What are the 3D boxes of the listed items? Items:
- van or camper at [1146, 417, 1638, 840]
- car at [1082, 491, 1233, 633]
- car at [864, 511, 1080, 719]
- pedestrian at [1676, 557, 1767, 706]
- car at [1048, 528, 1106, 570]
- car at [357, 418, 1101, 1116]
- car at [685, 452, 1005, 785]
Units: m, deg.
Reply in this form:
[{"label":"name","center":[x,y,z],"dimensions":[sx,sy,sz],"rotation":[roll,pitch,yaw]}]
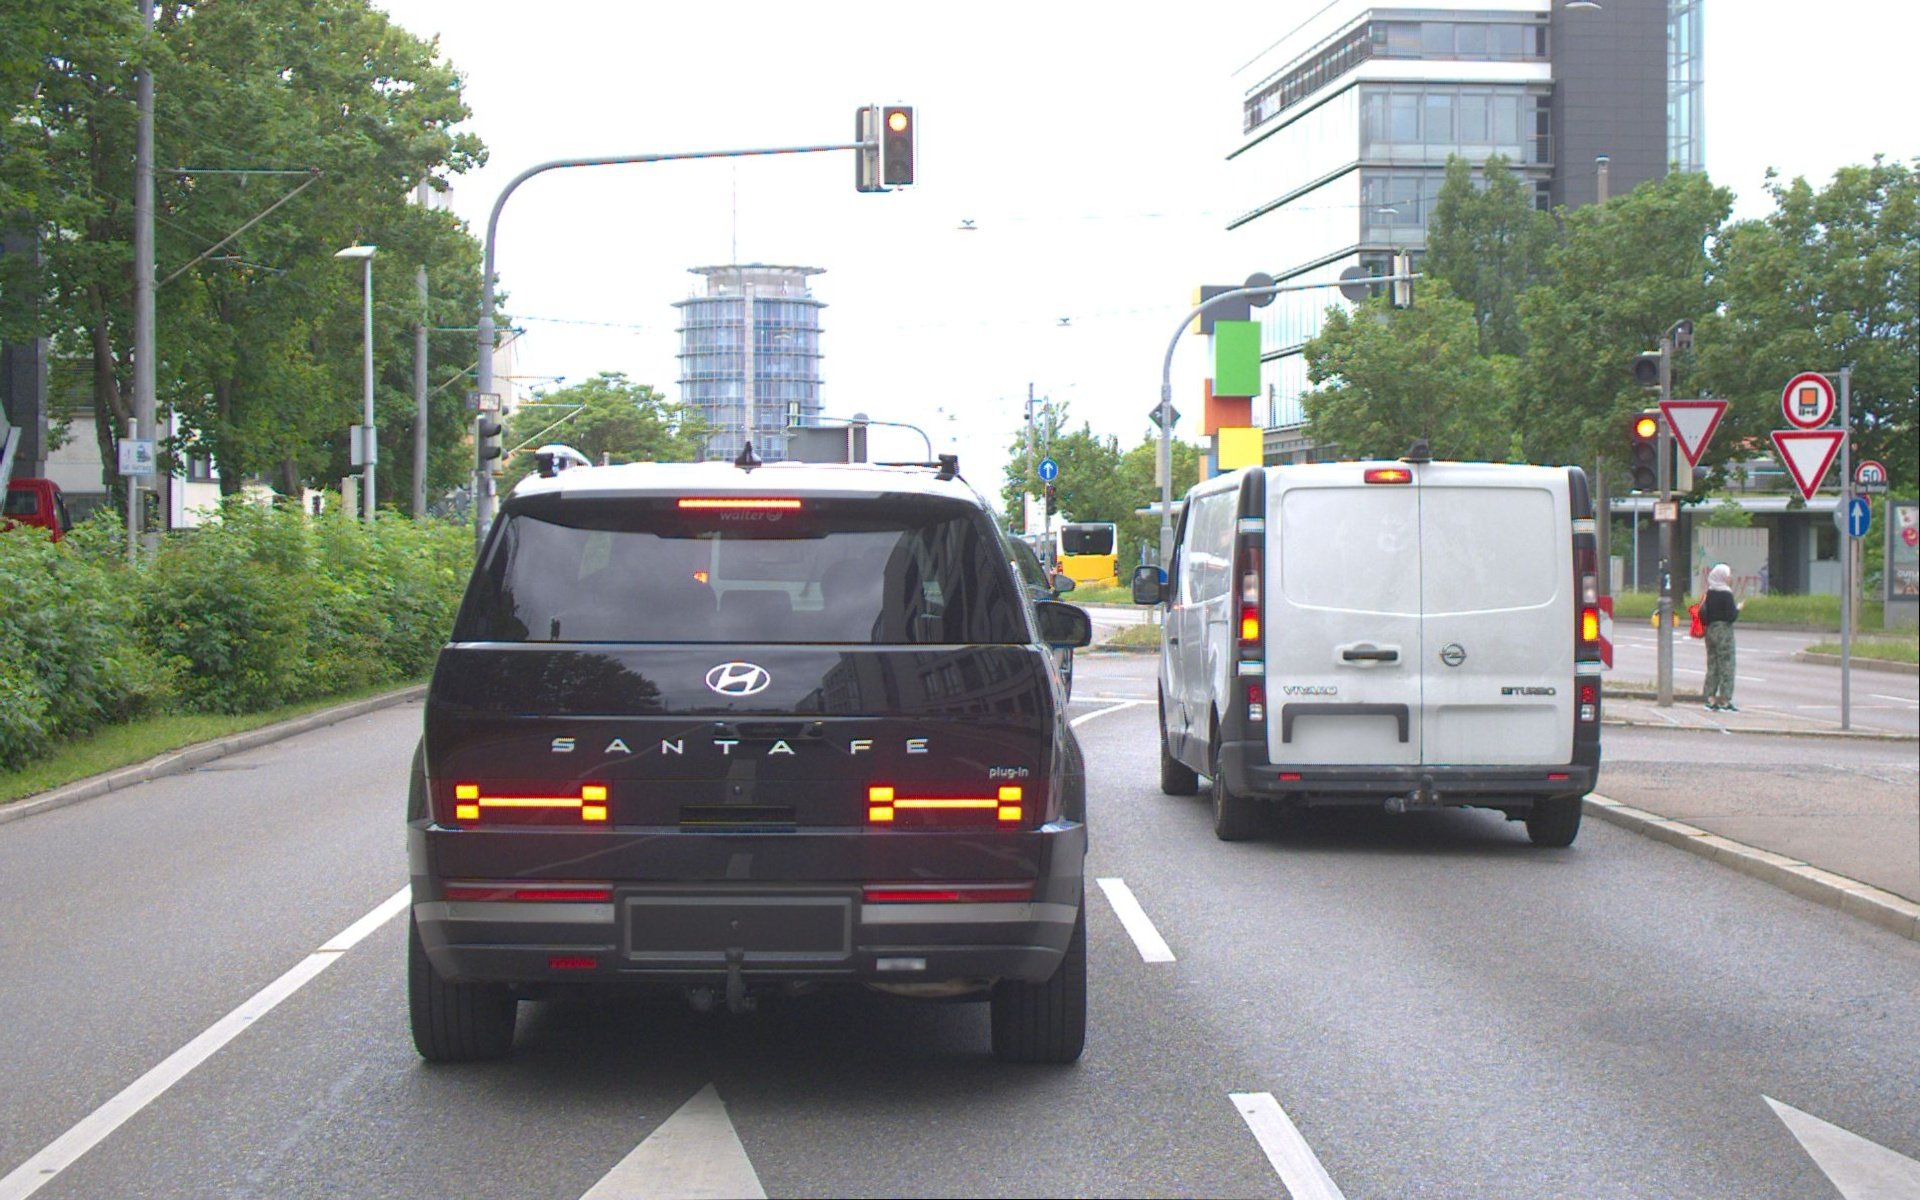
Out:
[{"label":"van or camper","center":[2.209,0.104,18.899],"dimensions":[1.993,2.007,4.653],"rotation":[1,1,-1]},{"label":"car","center":[2.909,-0.563,51.352],"dimensions":[1.993,2.007,4.000],"rotation":[1,0,0]},{"label":"car","center":[0.120,0.113,30.882],"dimensions":[1.776,1.711,4.338],"rotation":[1,0,1]},{"label":"pedestrian","center":[8.284,0.341,37.401],"dimensions":[0.738,1.579,0.573],"rotation":[2,1,-41]},{"label":"car","center":[4.837,-2.091,142.640],"dimensions":[1.993,1.678,4.001],"rotation":[1,0,-4]},{"label":"car","center":[-0.619,0.393,10.614],"dimensions":[1.869,1.754,3.880],"rotation":[0,1,-1]},{"label":"car","center":[-0.734,0.081,22.620],"dimensions":[1.915,1.996,3.880],"rotation":[0,1,-1]}]
